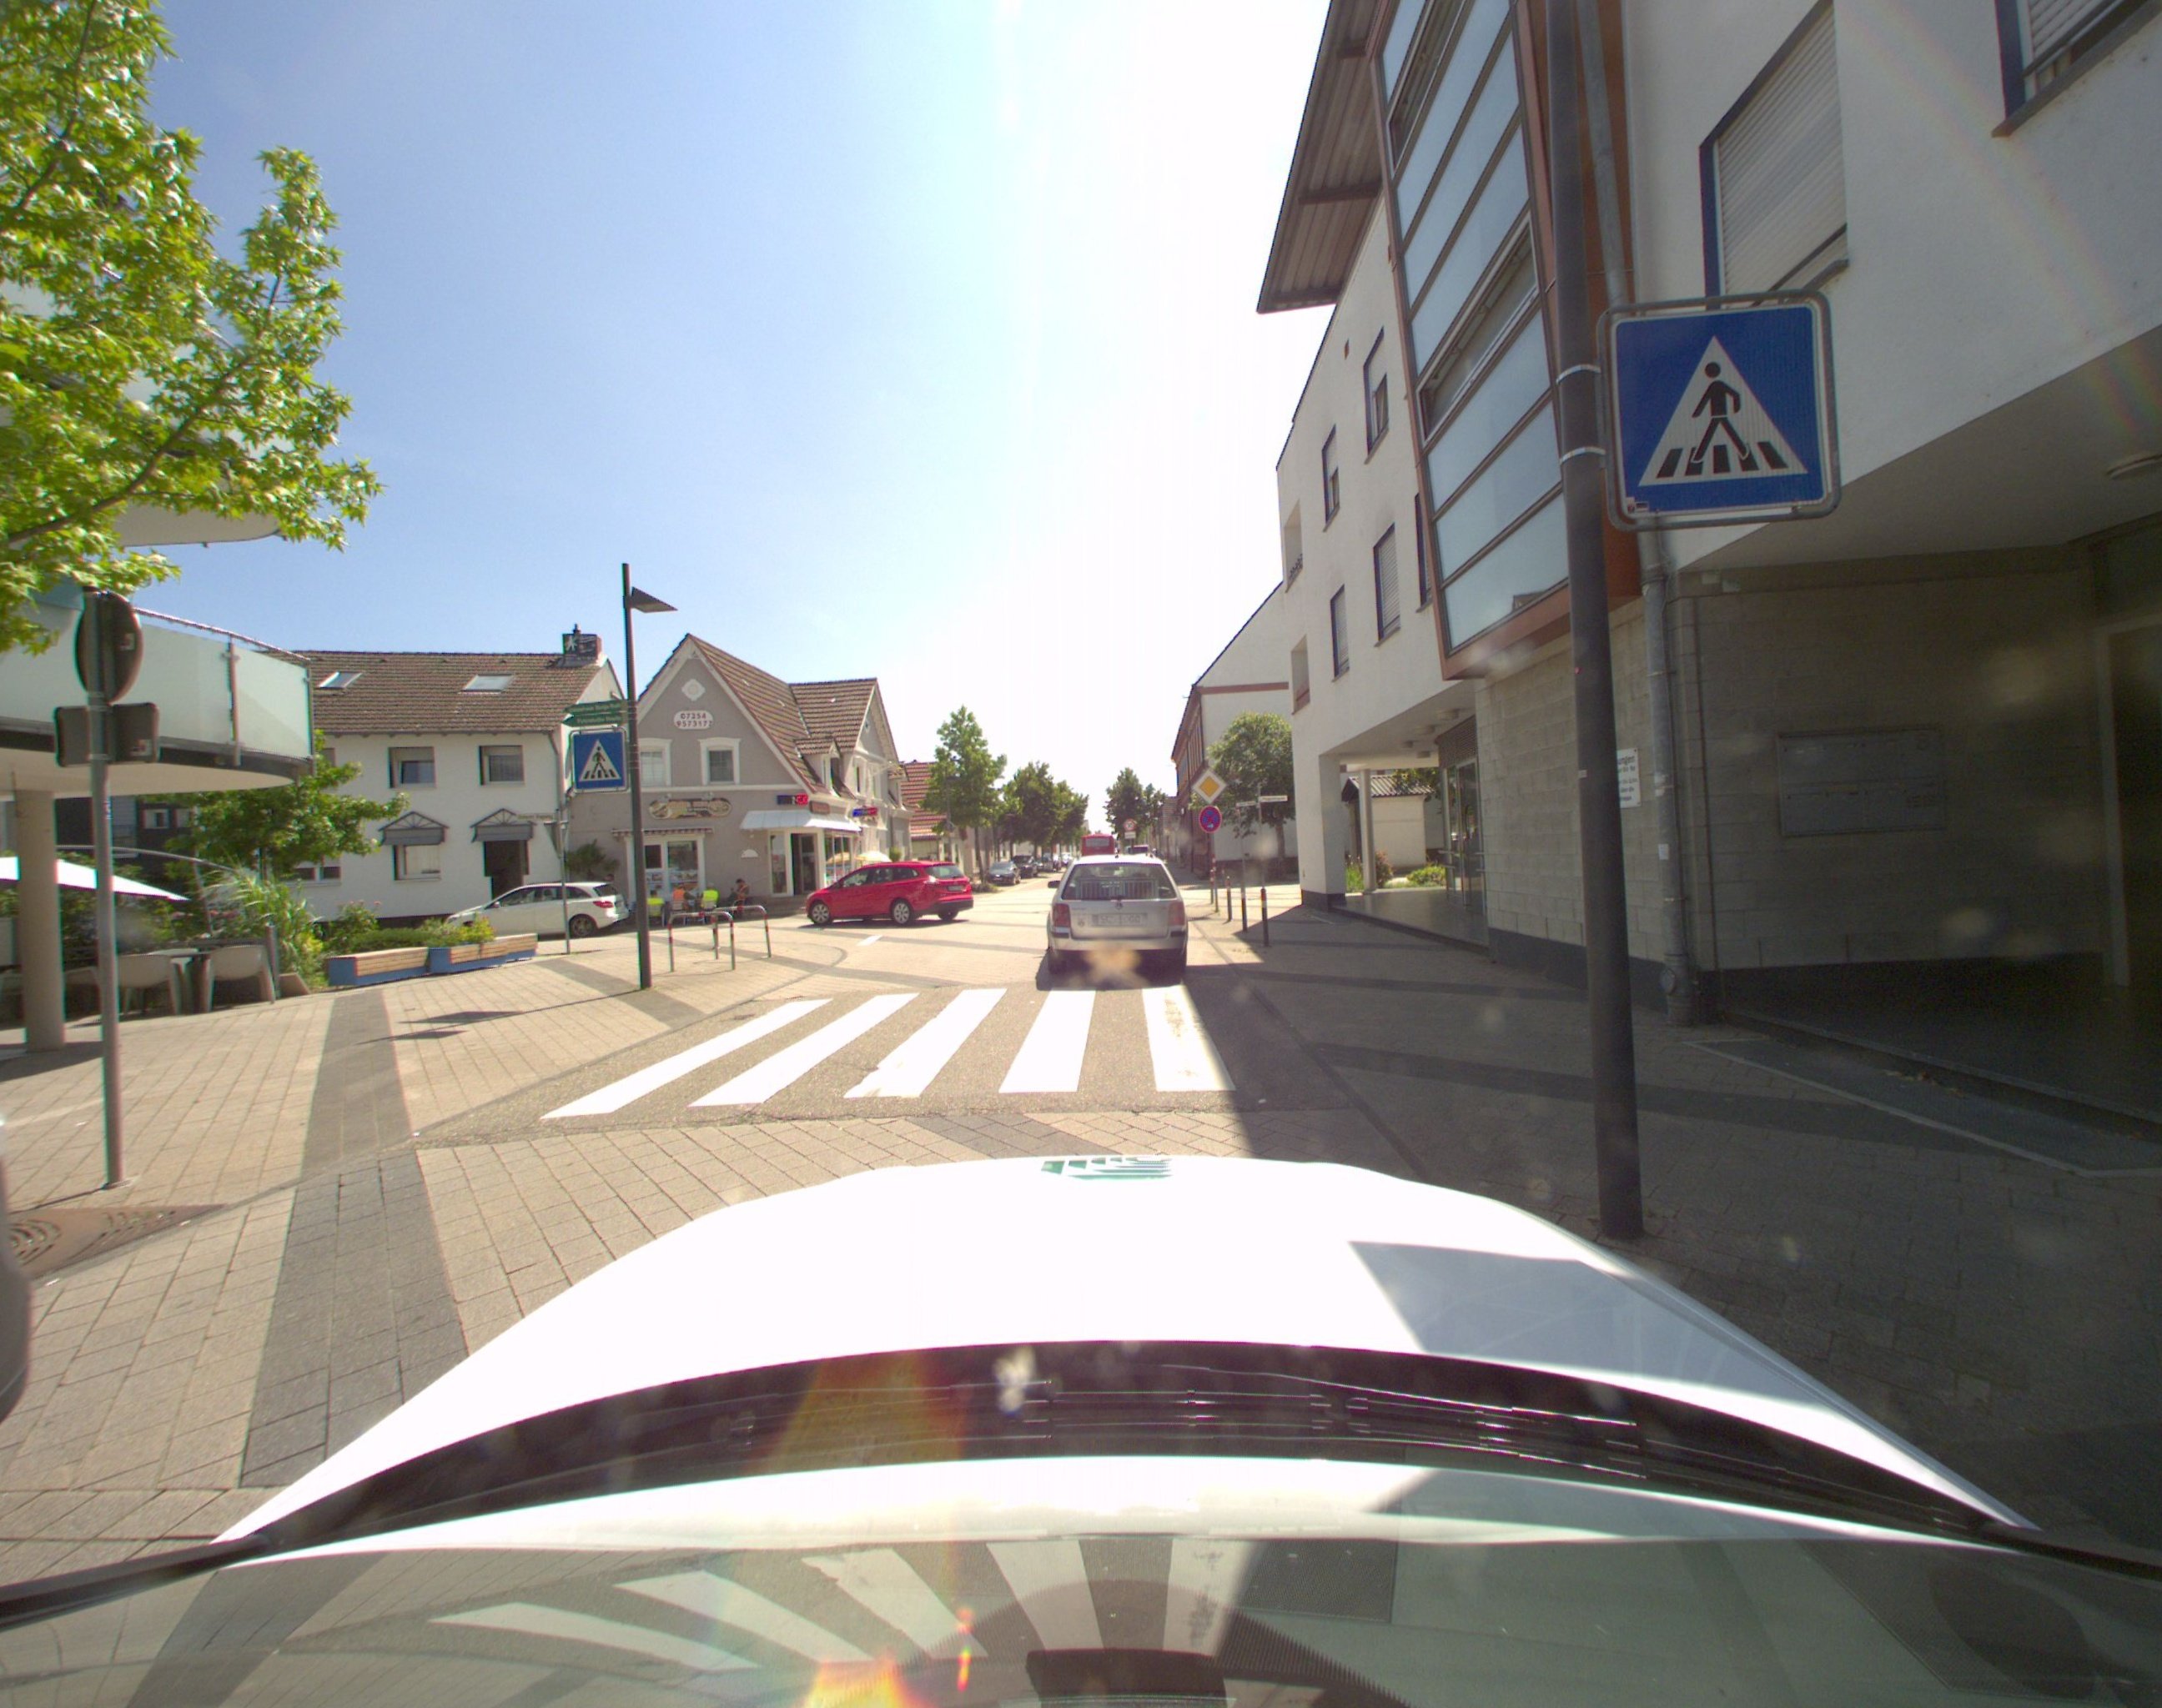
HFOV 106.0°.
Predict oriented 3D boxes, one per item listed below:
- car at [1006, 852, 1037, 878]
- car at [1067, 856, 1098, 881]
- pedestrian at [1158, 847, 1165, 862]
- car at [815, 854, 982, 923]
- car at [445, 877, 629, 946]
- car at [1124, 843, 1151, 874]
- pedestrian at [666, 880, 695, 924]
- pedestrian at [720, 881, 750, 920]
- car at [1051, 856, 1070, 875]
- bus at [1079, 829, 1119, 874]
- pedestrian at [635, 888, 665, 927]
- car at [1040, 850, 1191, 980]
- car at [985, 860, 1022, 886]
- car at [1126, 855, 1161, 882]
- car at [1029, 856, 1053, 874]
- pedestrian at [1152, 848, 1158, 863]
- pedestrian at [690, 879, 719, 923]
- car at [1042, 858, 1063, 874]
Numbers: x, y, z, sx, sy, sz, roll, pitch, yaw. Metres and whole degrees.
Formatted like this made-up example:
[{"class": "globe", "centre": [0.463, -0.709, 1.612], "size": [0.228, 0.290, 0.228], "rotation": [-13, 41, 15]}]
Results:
[{"class": "car", "centre": [-4.437, 0.812, 61.007], "size": [1.757, 1.838, 3.791], "rotation": [-3, 0, 2]}, {"class": "car", "centre": [0.138, 0.854, 49.091], "size": [1.587, 1.430, 3.683], "rotation": [-2, 0, 4]}, {"class": "pedestrian", "centre": [9.374, 0.083, 95.025], "size": [0.604, 1.667, 0.789], "rotation": [-3, 0, 1]}, {"class": "car", "centre": [-4.383, 0.833, 19.520], "size": [3.632, 1.430, 1.693], "rotation": [-3, 0, 29]}, {"class": "car", "centre": [-15.116, 1.563, 22.831], "size": [3.918, 1.545, 1.512], "rotation": [-3, 2, -12]}, {"class": "car", "centre": [4.097, 0.305, 59.671], "size": [1.781, 2.082, 3.628], "rotation": [-3, 0, 2]}, {"class": "pedestrian", "centre": [-12.408, 1.472, 25.207], "size": [0.639, 1.289, 0.780], "rotation": [0, -1, -41]}, {"class": "pedestrian", "centre": [-11.031, 1.465, 25.976], "size": [0.620, 1.179, 0.696], "rotation": [-3, 0, -2]}, {"class": "car", "centre": [-2.393, 1.303, 94.572], "size": [1.804, 1.995, 4.002], "rotation": [-3, 0, 2]}, {"class": "bus", "centre": [1.646, -0.157, 68.413], "size": [2.728, 3.298, 12.716], "rotation": [-2, 0, 3]}, {"class": "pedestrian", "centre": [-12.922, 1.582, 24.408], "size": [0.639, 1.116, 0.780], "rotation": [0, -1, -41]}, {"class": "car", "centre": [0.478, 0.691, 11.051], "size": [1.670, 1.430, 3.682], "rotation": [-1, 0, 3]}, {"class": "car", "centre": [-4.640, 1.128, 49.389], "size": [1.599, 1.438, 4.067], "rotation": [-3, 0, 2]}, {"class": "car", "centre": [3.387, 0.765, 44.411], "size": [1.712, 1.309, 3.628], "rotation": [-3, 0, 2]}, {"class": "car", "centre": [-3.682, 0.987, 75.868], "size": [1.804, 1.559, 4.002], "rotation": [-3, 0, 2]}, {"class": "pedestrian", "centre": [8.654, 0.157, 95.348], "size": [0.604, 1.667, 0.789], "rotation": [-3, 0, 1]}, {"class": "pedestrian", "centre": [-11.528, 1.436, 24.932], "size": [0.639, 1.289, 0.780], "rotation": [0, -1, -41]}, {"class": "car", "centre": [-2.854, 1.185, 82.427], "size": [1.804, 1.559, 4.002], "rotation": [-3, 0, 2]}]
